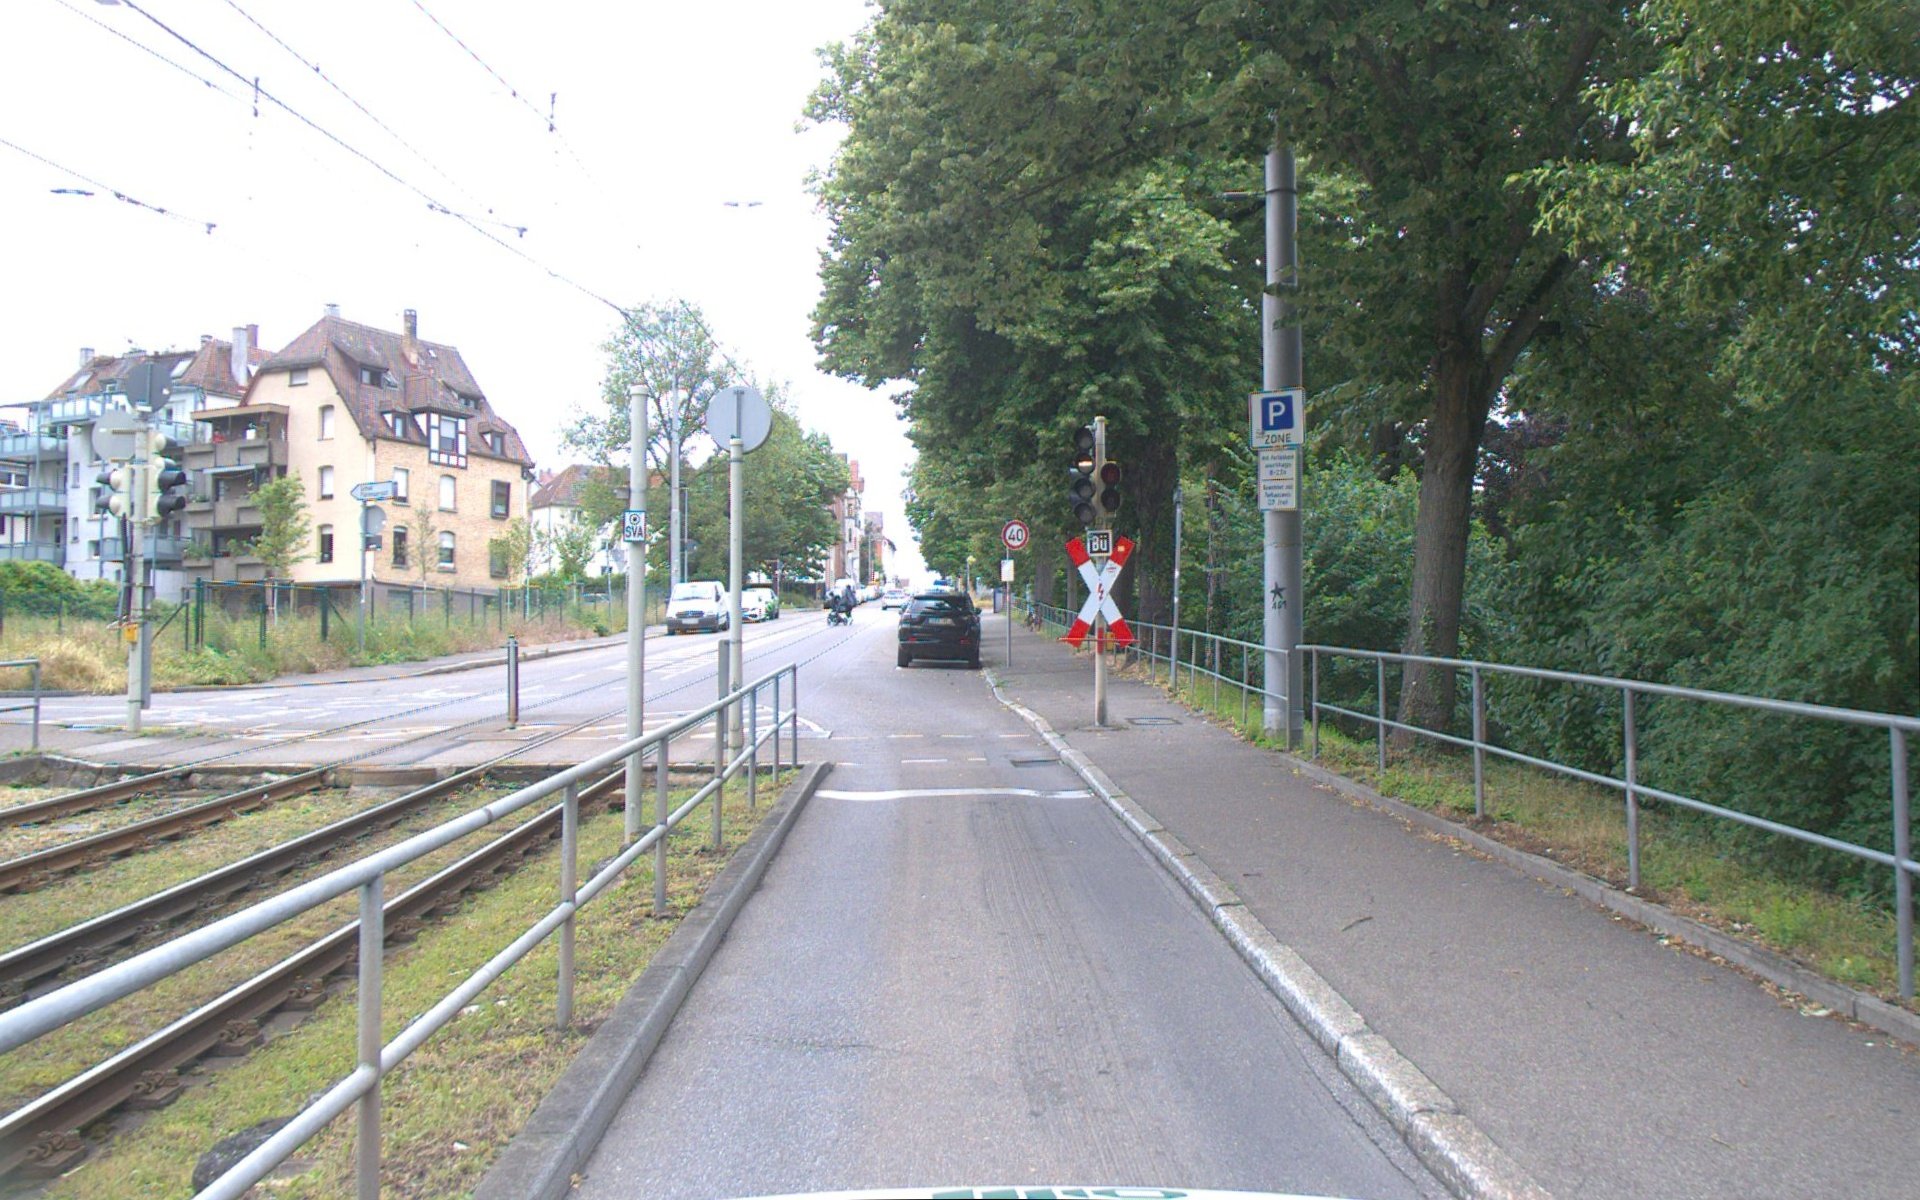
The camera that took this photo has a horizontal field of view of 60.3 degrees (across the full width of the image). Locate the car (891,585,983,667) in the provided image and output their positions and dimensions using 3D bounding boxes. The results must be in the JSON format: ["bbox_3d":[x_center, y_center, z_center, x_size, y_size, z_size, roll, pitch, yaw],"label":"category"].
[{"bbox_3d":[-0.450,0.521,36.608,1.865,1.643,4.600,1,1,1],"label":"car"}]

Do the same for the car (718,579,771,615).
[{"bbox_3d":[-9.945,-0.135,76.519,1.846,1.552,4.663,-2,0,-1],"label":"car"}]

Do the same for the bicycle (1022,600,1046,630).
[{"bbox_3d":[2.492,0.510,55.739,0.419,0.993,1.790,0,0,-10],"label":"bicycle"}]

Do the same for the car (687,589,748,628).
[{"bbox_3d":[-9.955,0.317,68.181,1.857,1.457,4.511,-2,1,-1],"label":"car"}]

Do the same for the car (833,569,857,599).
[{"bbox_3d":[-10.902,-1.477,157.255,2.186,2.812,5.796,0,0,-3],"label":"car"}]

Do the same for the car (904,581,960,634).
[{"bbox_3d":[-0.952,0.213,58.454,1.839,1.707,5.063,2,1,0],"label":"car"}]

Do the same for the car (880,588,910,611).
[{"bbox_3d":[-4.500,-0.032,114.812,1.953,1.525,4.311,0,0,-1],"label":"car"}]

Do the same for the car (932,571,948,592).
[{"bbox_3d":[-2.544,-2.368,210.576,1.953,2.619,4.704,-1,0,0],"label":"car"}]

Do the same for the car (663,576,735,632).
[{"bbox_3d":[-9.803,0.142,62.461,1.995,1.914,4.883,-3,0,-2],"label":"car"}]

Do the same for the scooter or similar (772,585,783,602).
[{"bbox_3d":[-15.159,-0.530,137.600,0.676,1.362,1.639,0,0,0],"label":"scooter or similar"}]

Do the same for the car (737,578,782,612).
[{"bbox_3d":[-9.940,-0.282,82.121,1.688,1.607,4.180,-1,1,0],"label":"car"}]

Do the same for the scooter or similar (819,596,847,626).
[{"bbox_3d":[-5.169,0.429,67.414,0.824,1.217,0.803,0,0,41],"label":"scooter or similar"}]

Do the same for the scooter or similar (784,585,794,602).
[{"bbox_3d":[-14.224,-0.524,137.621,0.676,1.362,1.639,0,0,0],"label":"scooter or similar"}]

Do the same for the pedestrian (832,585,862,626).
[{"bbox_3d":[-4.555,0.212,66.864,0.900,1.657,0.803,0,0,41],"label":"pedestrian"}]
